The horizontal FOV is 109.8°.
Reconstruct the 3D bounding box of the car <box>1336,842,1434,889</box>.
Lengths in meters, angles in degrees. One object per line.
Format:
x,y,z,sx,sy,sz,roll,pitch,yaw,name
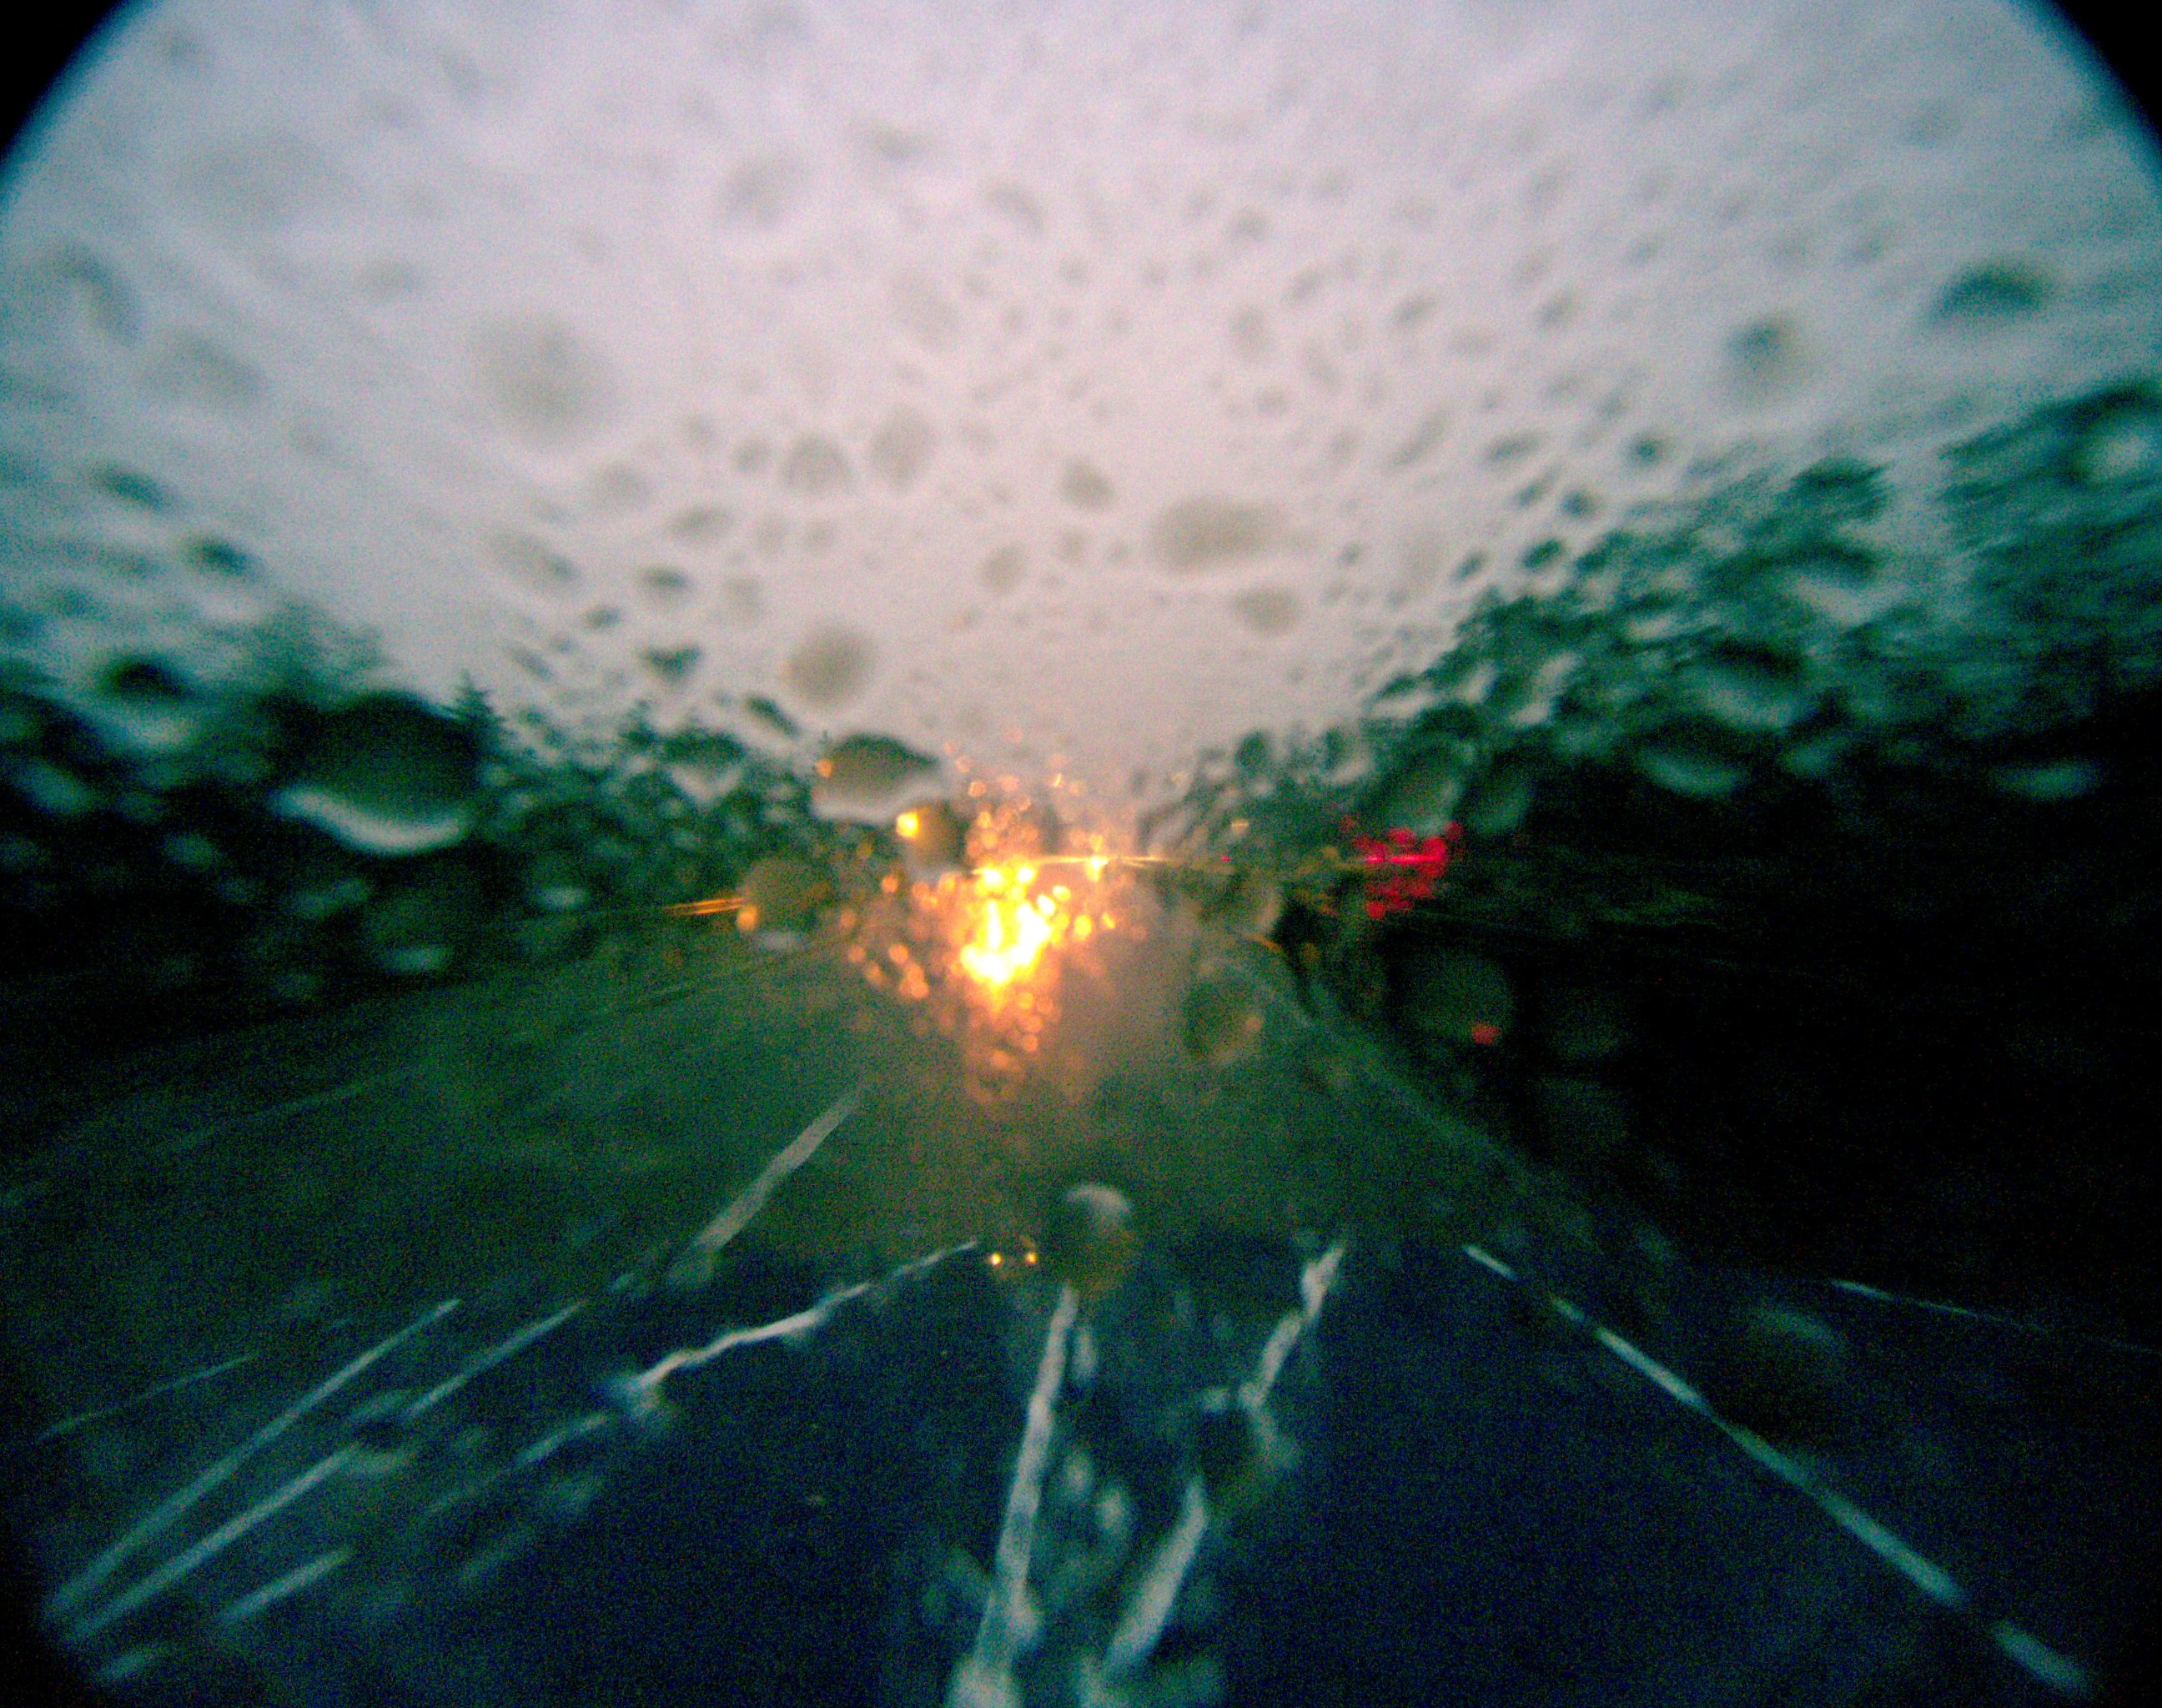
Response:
12.278,0.428,31.146,1.881,1.685,5.450,-2,0,1,car

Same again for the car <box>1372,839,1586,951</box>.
7.227,0.670,14.338,1.909,1.696,4.000,-4,0,1,car

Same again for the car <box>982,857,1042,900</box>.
-3.014,1.027,34.018,2.075,1.688,4.461,-2,0,2,car

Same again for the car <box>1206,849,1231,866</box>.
13.118,0.335,72.574,1.647,1.471,3.648,-2,0,0,car
